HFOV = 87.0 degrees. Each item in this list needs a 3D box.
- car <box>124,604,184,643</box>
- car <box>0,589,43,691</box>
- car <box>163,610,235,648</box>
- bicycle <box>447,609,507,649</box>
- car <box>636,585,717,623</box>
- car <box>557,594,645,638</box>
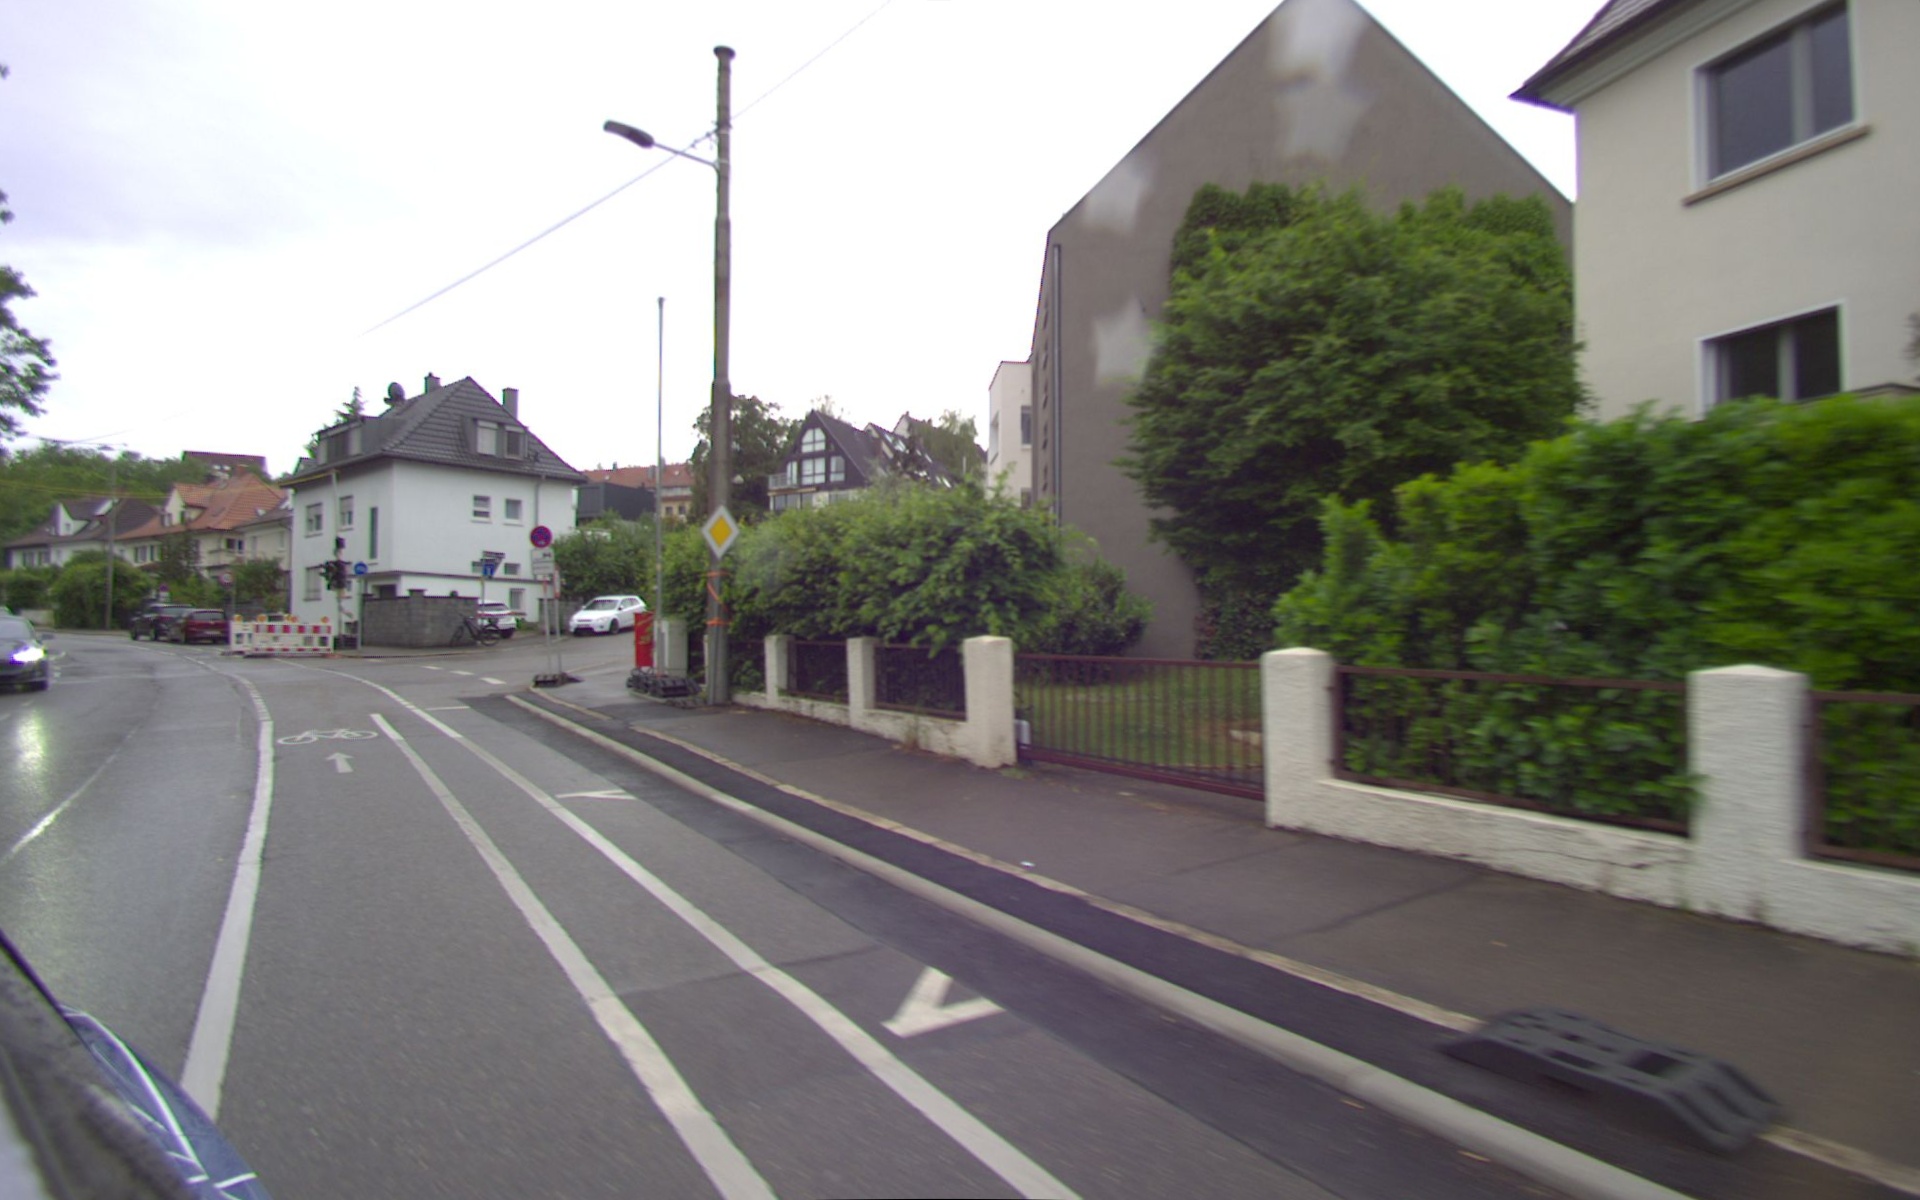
[{"bbox_3d":[-36.363,1.085,45.630,4.007,1.601,1.646,-3,-2,44],"label":"car"},{"bbox_3d":[-18.824,0.719,19.152,3.928,1.820,1.926,0,0,44],"label":"car"},{"bbox_3d":[-31.991,1.228,42.502,3.798,1.505,1.871,-3,-3,44],"label":"car"},{"bbox_3d":[-16.424,0.965,34.438,0.708,1.321,1.707,0,0,45],"label":"bicycle"},{"bbox_3d":[-13.054,0.150,46.860,1.691,1.476,3.831,-1,3,19],"label":"car"},{"bbox_3d":[-14.582,0.639,41.322,1.732,1.476,3.548,-2,3,12],"label":"car"}]
